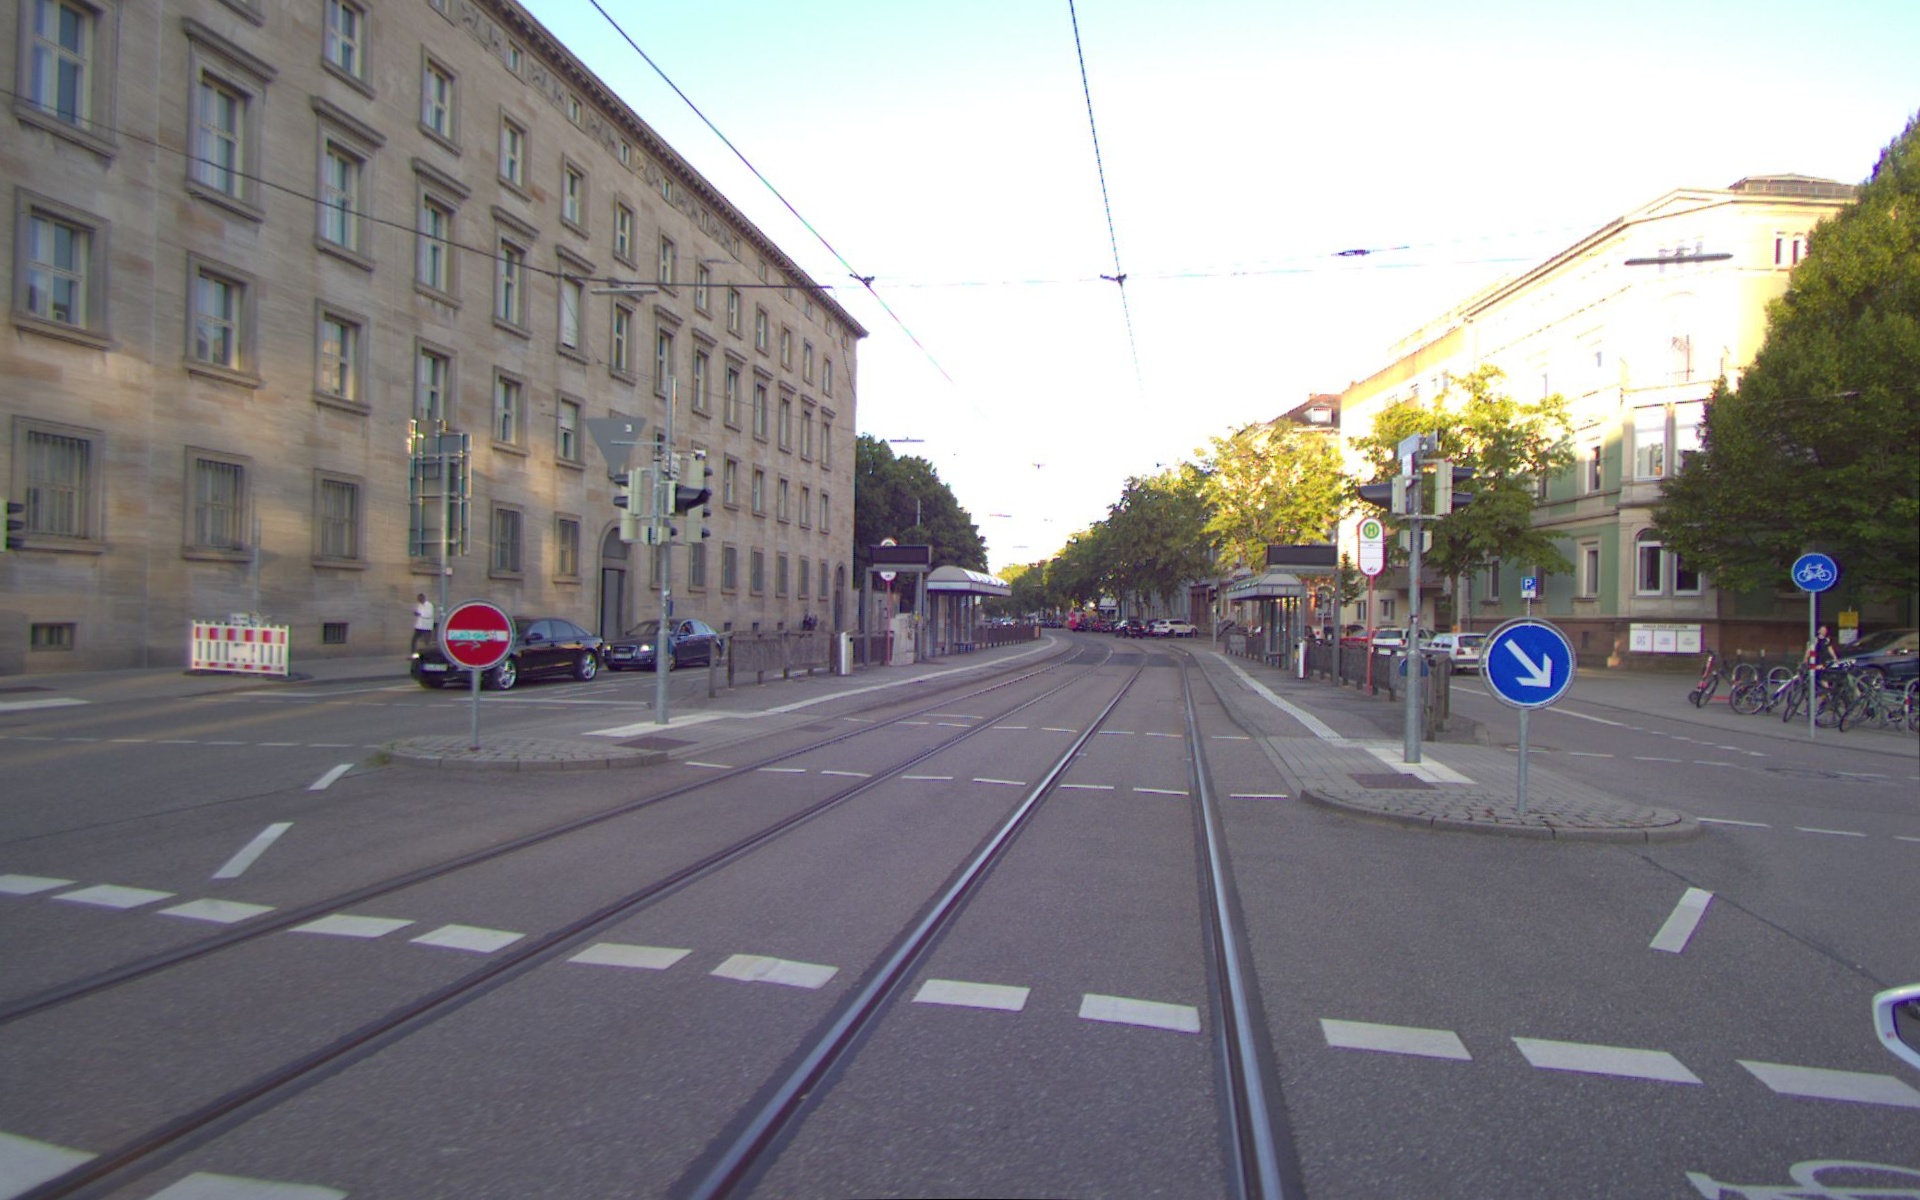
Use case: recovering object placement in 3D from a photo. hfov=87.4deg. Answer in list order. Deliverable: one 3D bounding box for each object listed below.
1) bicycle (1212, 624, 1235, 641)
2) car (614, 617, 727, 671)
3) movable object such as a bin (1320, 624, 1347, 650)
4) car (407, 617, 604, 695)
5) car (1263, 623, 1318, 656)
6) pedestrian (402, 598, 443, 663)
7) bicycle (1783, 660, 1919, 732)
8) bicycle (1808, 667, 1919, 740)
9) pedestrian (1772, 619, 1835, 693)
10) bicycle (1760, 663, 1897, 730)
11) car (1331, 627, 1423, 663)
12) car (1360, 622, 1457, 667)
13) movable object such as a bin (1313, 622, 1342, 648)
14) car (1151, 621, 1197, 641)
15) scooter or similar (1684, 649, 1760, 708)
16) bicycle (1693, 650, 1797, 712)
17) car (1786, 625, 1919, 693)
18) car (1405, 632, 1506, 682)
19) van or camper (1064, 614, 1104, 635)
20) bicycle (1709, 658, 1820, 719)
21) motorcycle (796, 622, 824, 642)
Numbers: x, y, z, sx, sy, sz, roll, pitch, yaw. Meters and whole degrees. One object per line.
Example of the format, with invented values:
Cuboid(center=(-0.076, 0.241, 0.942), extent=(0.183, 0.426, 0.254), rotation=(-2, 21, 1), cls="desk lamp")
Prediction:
Cuboid(center=(19.885, 2.427, 75.702), extent=(1.900, 1.283, 0.595), rotation=(2, -1, -36), cls="bicycle")
Cuboid(center=(-8.437, 1.246, 29.582), extent=(1.614, 1.446, 3.707), rotation=(2, -1, 12), cls="car")
Cuboid(center=(22.244, 2.187, 59.824), extent=(1.055, 1.522, 1.318), rotation=(2, -1, -3), cls="movable object such as a bin")
Cuboid(center=(-9.549, 1.120, 21.520), extent=(1.614, 1.446, 4.235), rotation=(2, -1, 12), cls="car")
Cuboid(center=(17.782, 2.111, 54.210), extent=(1.714, 1.653, 4.089), rotation=(-1, -1, 2), cls="car")
Cuboid(center=(-14.548, 0.824, 27.190), extent=(0.684, 1.732, 0.646), rotation=(1, 0, 15), cls="pedestrian")
Cuboid(center=(15.737, 1.644, 17.380), extent=(2.192, 1.147, 0.744), rotation=(0, -1, 14), cls="bicycle")
Cuboid(center=(15.166, 1.683, 16.449), extent=(1.832, 1.089, 0.743), rotation=(0, -1, 30), cls="bicycle")
Cuboid(center=(21.109, 1.386, 25.150), extent=(0.695, 1.791, 0.989), rotation=(2, -1, -3), cls="pedestrian")
Cuboid(center=(15.863, 1.744, 18.383), extent=(1.725, 1.089, 0.744), rotation=(1, 0, 14), cls="bicycle")
Cuboid(center=(18.674, 2.023, 44.940), extent=(4.161, 1.473, 1.632), rotation=(2, -1, -31), cls="car")
Cuboid(center=(18.947, 1.874, 42.388), extent=(4.164, 1.748, 1.706), rotation=(2, 0, -33), cls="car")
Cuboid(center=(22.672, 2.171, 62.029), extent=(1.122, 1.522, 1.598), rotation=(2, -1, -2), cls="movable object such as a bin")
Cuboid(center=(18.714, 2.680, 87.696), extent=(3.911, 1.648, 1.660), rotation=(1, 0, -32), cls="car")
Cuboid(center=(16.727, 1.714, 22.070), extent=(1.179, 1.241, 0.591), rotation=(0, -1, 13), cls="scooter or similar")
Cuboid(center=(16.332, 1.674, 20.933), extent=(1.500, 1.178, 0.744), rotation=(1, 0, 14), cls="bicycle")
Cuboid(center=(23.954, 1.503, 25.698), extent=(3.916, 1.595, 1.804), rotation=(1, 0, 12), cls="car")
Cuboid(center=(17.478, 1.978, 35.616), extent=(1.652, 1.573, 4.001), rotation=(-1, -1, 1), cls="car")
Cuboid(center=(16.764, 3.300, 135.862), extent=(5.495, 2.564, 2.066), rotation=(-1, -1, -36), cls="van or camper")
Cuboid(center=(15.996, 1.746, 20.002), extent=(1.524, 1.089, 0.744), rotation=(1, 0, 14), cls="bicycle")
Cuboid(center=(-8.653, 1.834, 57.912), extent=(0.686, 1.089, 2.655), rotation=(1, -1, 12), cls="motorcycle")
